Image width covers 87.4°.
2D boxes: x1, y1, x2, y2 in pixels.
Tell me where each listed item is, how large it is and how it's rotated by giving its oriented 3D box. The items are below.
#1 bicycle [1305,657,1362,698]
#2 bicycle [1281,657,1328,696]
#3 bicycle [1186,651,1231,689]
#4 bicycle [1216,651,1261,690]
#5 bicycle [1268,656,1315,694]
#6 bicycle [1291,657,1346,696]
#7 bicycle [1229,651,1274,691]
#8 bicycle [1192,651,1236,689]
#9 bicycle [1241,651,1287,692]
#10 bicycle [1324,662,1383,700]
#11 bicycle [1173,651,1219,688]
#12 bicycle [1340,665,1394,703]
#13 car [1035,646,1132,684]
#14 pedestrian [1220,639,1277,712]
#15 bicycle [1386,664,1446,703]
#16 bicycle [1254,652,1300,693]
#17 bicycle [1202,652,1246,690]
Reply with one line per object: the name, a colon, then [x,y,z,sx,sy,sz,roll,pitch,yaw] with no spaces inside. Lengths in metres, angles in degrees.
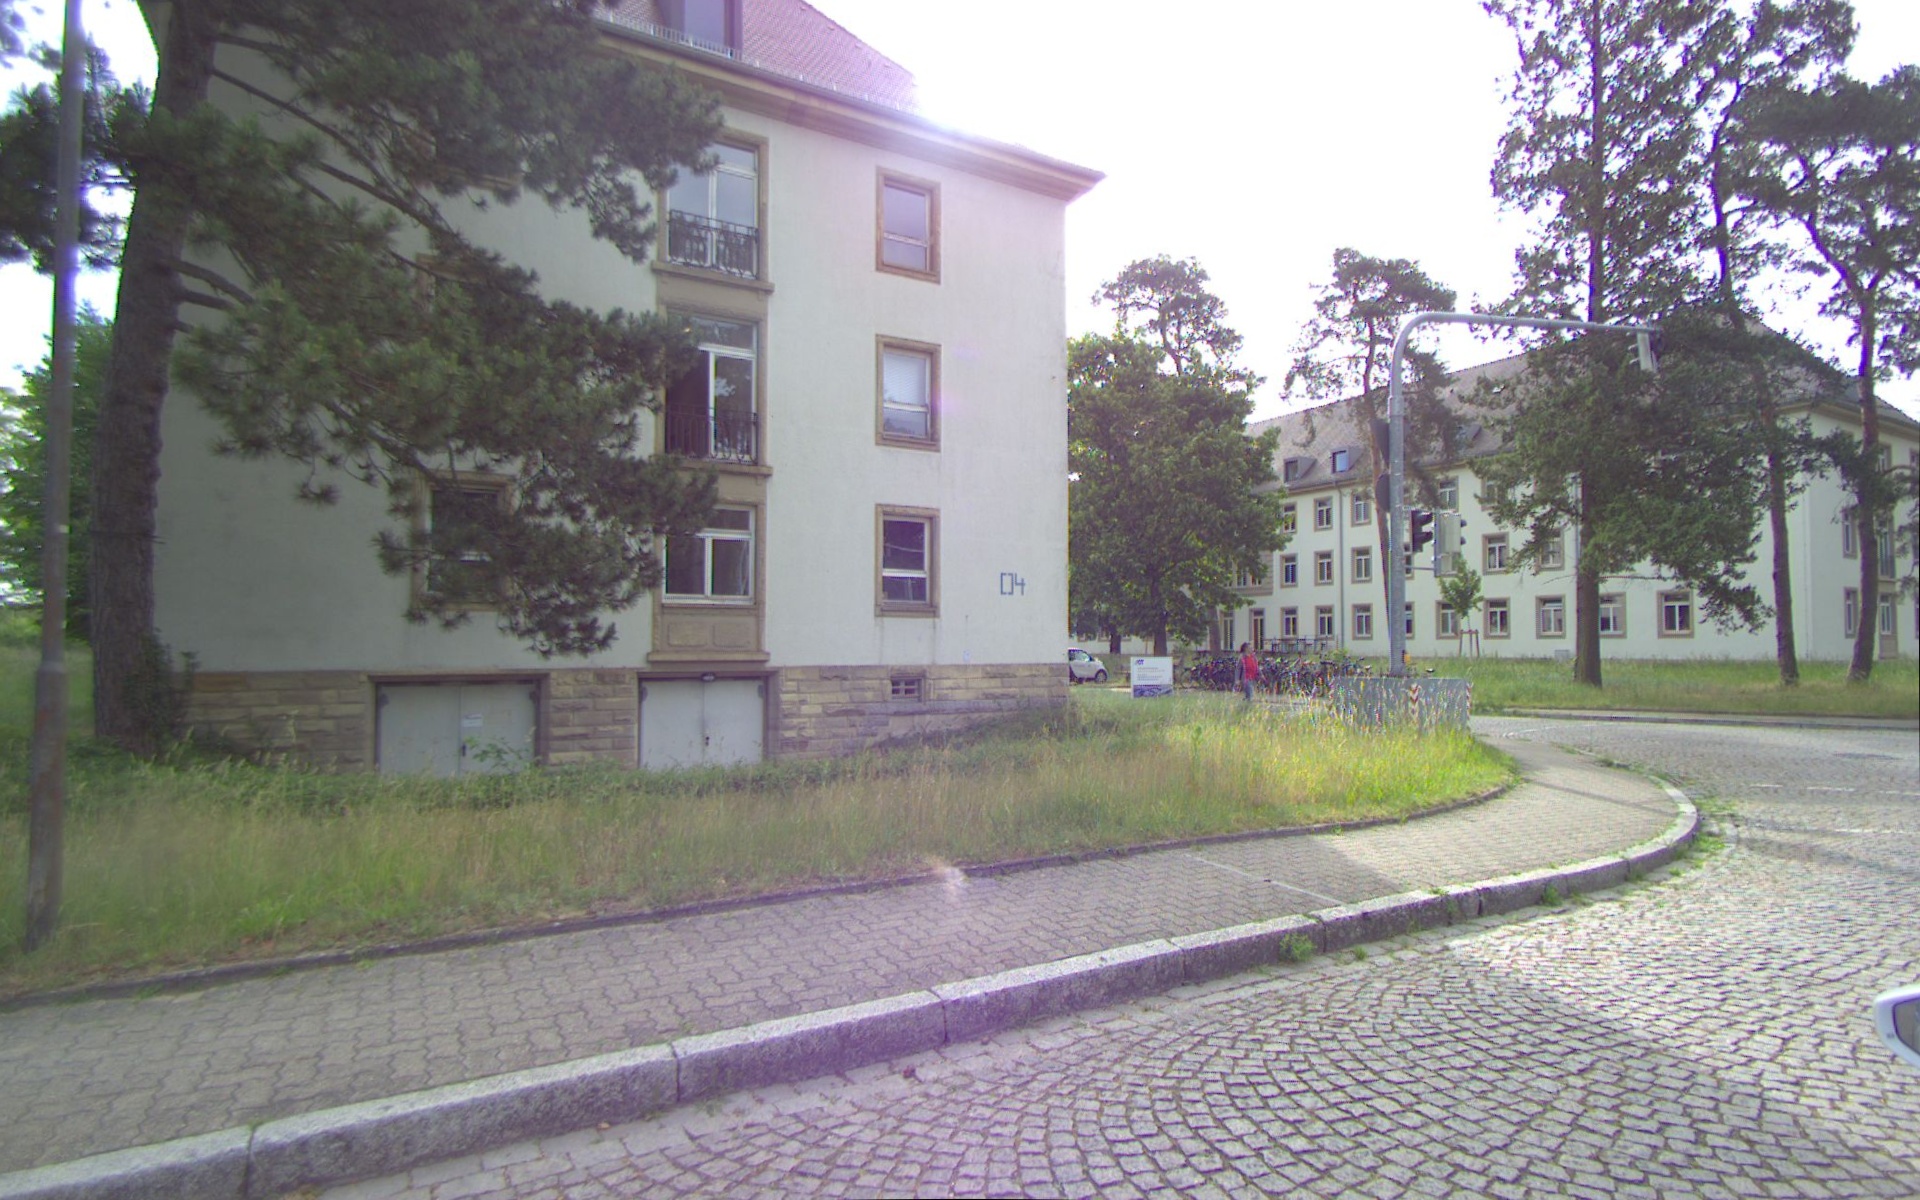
bicycle: [11.413,2.349,30.692,1.932,1.193,0.572,2,-3,-32]
bicycle: [10.846,2.382,31.628,1.677,1.193,0.447,2,-3,-32]
bicycle: [8.780,2.456,35.514,1.765,1.300,0.440,2,-3,-32]
bicycle: [9.449,2.367,34.028,1.677,1.300,0.447,2,-3,-32]
bicycle: [10.588,2.377,32.038,1.677,1.193,0.447,2,-3,-32]
bicycle: [11.148,2.361,31.213,1.909,1.193,0.525,2,-3,-32]
bicycle: [9.748,2.357,33.553,1.677,1.300,0.447,2,-3,-32]
bicycle: [8.845,2.440,35.005,1.677,1.300,0.447,2,-3,-32]
bicycle: [10.040,2.349,33.129,1.677,1.300,0.447,2,-3,-32]
bicycle: [11.823,2.405,30.128,1.974,1.092,0.572,2,-3,-32]
bicycle: [8.438,2.461,35.848,1.807,1.300,0.447,2,-3,-32]
bicycle: [11.346,2.330,28.049,0.447,1.009,1.453,1,-3,-29]
car: [5.316,2.780,43.267,3.851,1.576,1.831,2,-3,-30]
pedestrian: [6.795,1.763,23.678,0.928,1.690,0.857,1,-3,-27]
bicycle: [12.122,2.209,26.741,0.447,1.009,1.453,1,-3,-29]
bicycle: [10.325,2.341,32.713,1.677,1.300,0.447,2,-3,-32]
bicycle: [9.097,2.432,34.589,1.677,1.300,0.447,2,-3,-32]
